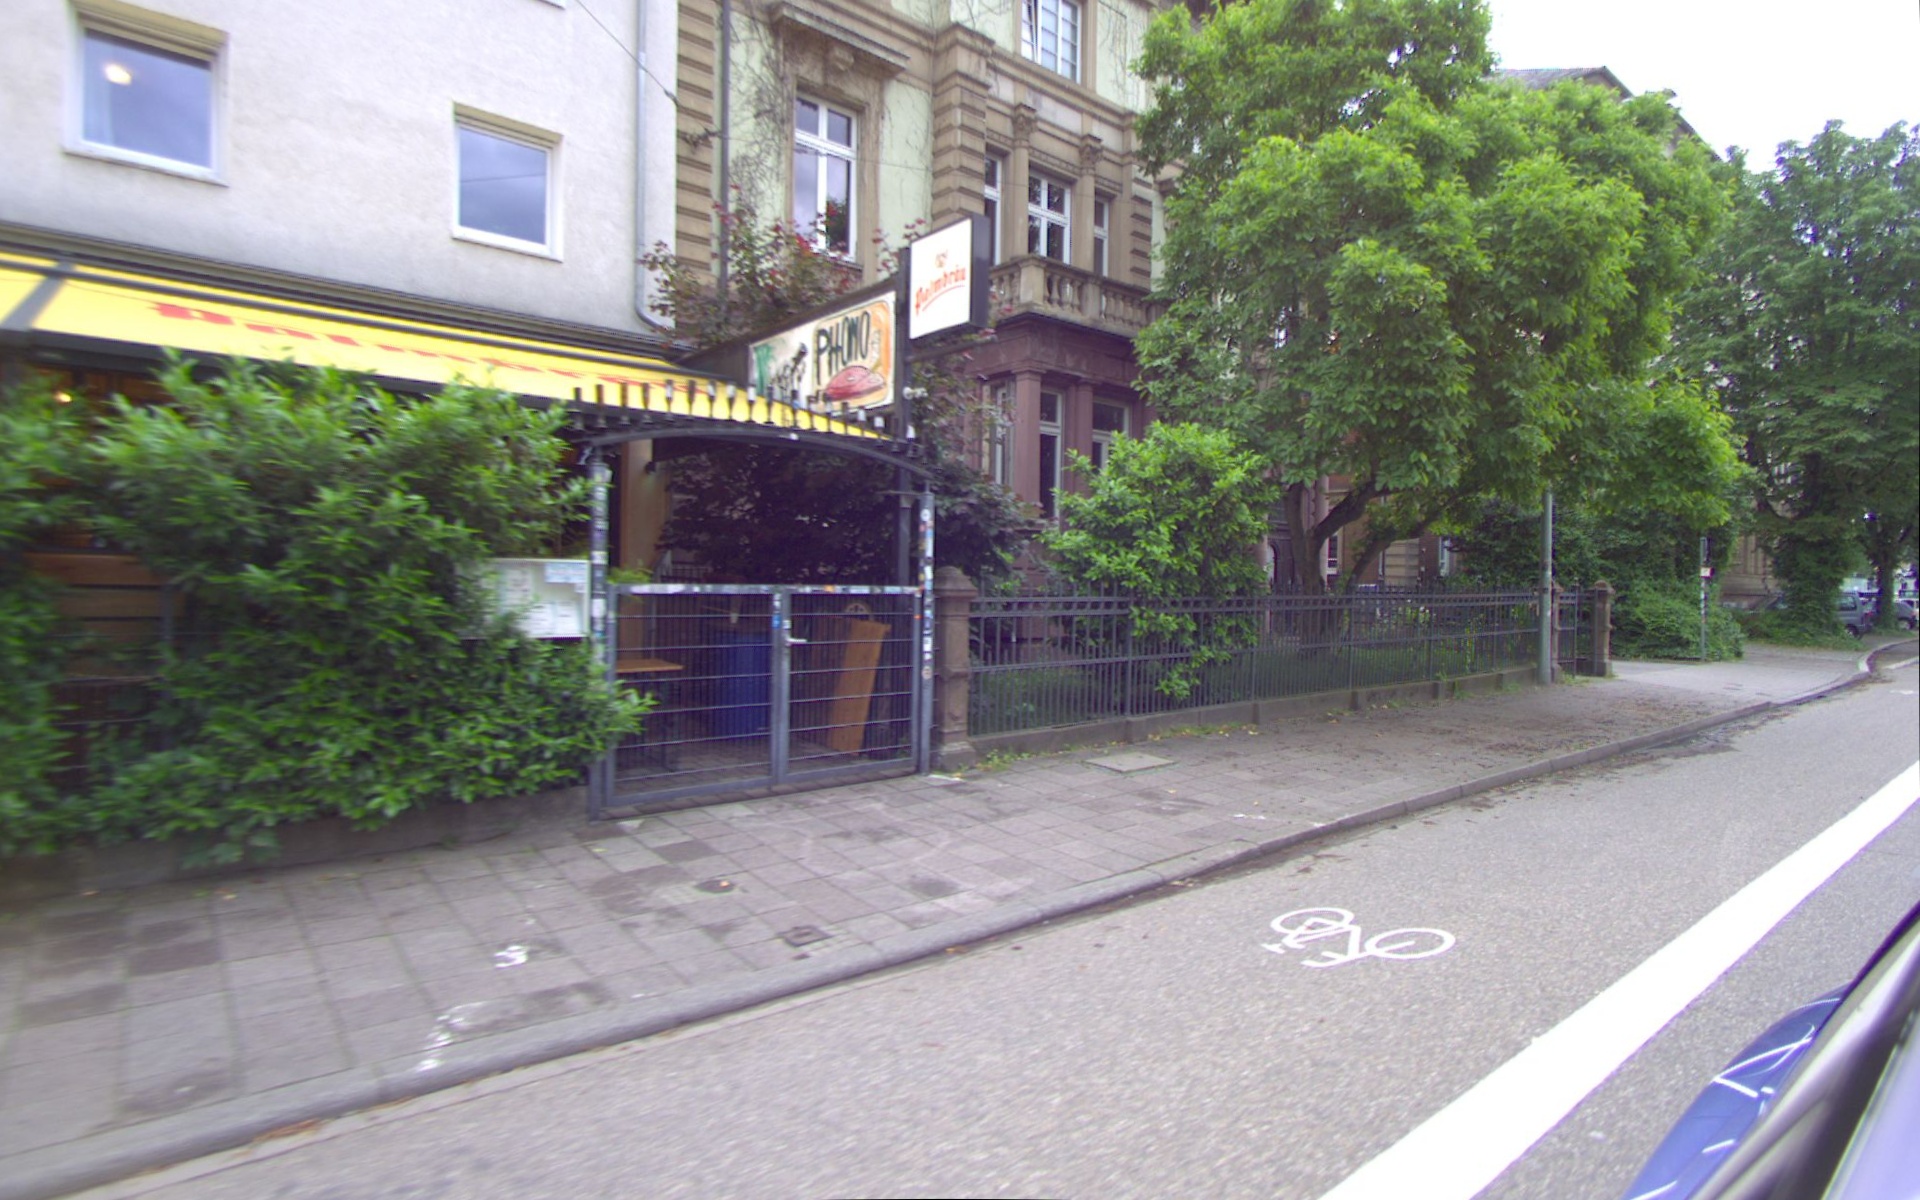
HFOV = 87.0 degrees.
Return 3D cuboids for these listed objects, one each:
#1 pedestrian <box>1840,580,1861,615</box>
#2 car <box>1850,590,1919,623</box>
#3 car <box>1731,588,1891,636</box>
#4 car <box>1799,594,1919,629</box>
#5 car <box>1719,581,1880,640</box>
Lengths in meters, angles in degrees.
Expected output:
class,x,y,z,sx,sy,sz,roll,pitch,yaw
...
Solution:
class,x,y,z,sx,sy,sz,roll,pitch,yaw
pedestrian,49.128,-0.131,55.831,0.738,1.861,0.680,0,2,-40
car,47.274,0.339,50.281,4.285,1.571,1.733,1,1,28
car,30.734,0.410,36.689,3.943,1.558,1.856,2,1,16
car,40.884,0.500,45.669,4.273,1.420,1.745,1,1,18
car,28.598,0.309,34.617,3.791,1.843,1.796,2,1,20
